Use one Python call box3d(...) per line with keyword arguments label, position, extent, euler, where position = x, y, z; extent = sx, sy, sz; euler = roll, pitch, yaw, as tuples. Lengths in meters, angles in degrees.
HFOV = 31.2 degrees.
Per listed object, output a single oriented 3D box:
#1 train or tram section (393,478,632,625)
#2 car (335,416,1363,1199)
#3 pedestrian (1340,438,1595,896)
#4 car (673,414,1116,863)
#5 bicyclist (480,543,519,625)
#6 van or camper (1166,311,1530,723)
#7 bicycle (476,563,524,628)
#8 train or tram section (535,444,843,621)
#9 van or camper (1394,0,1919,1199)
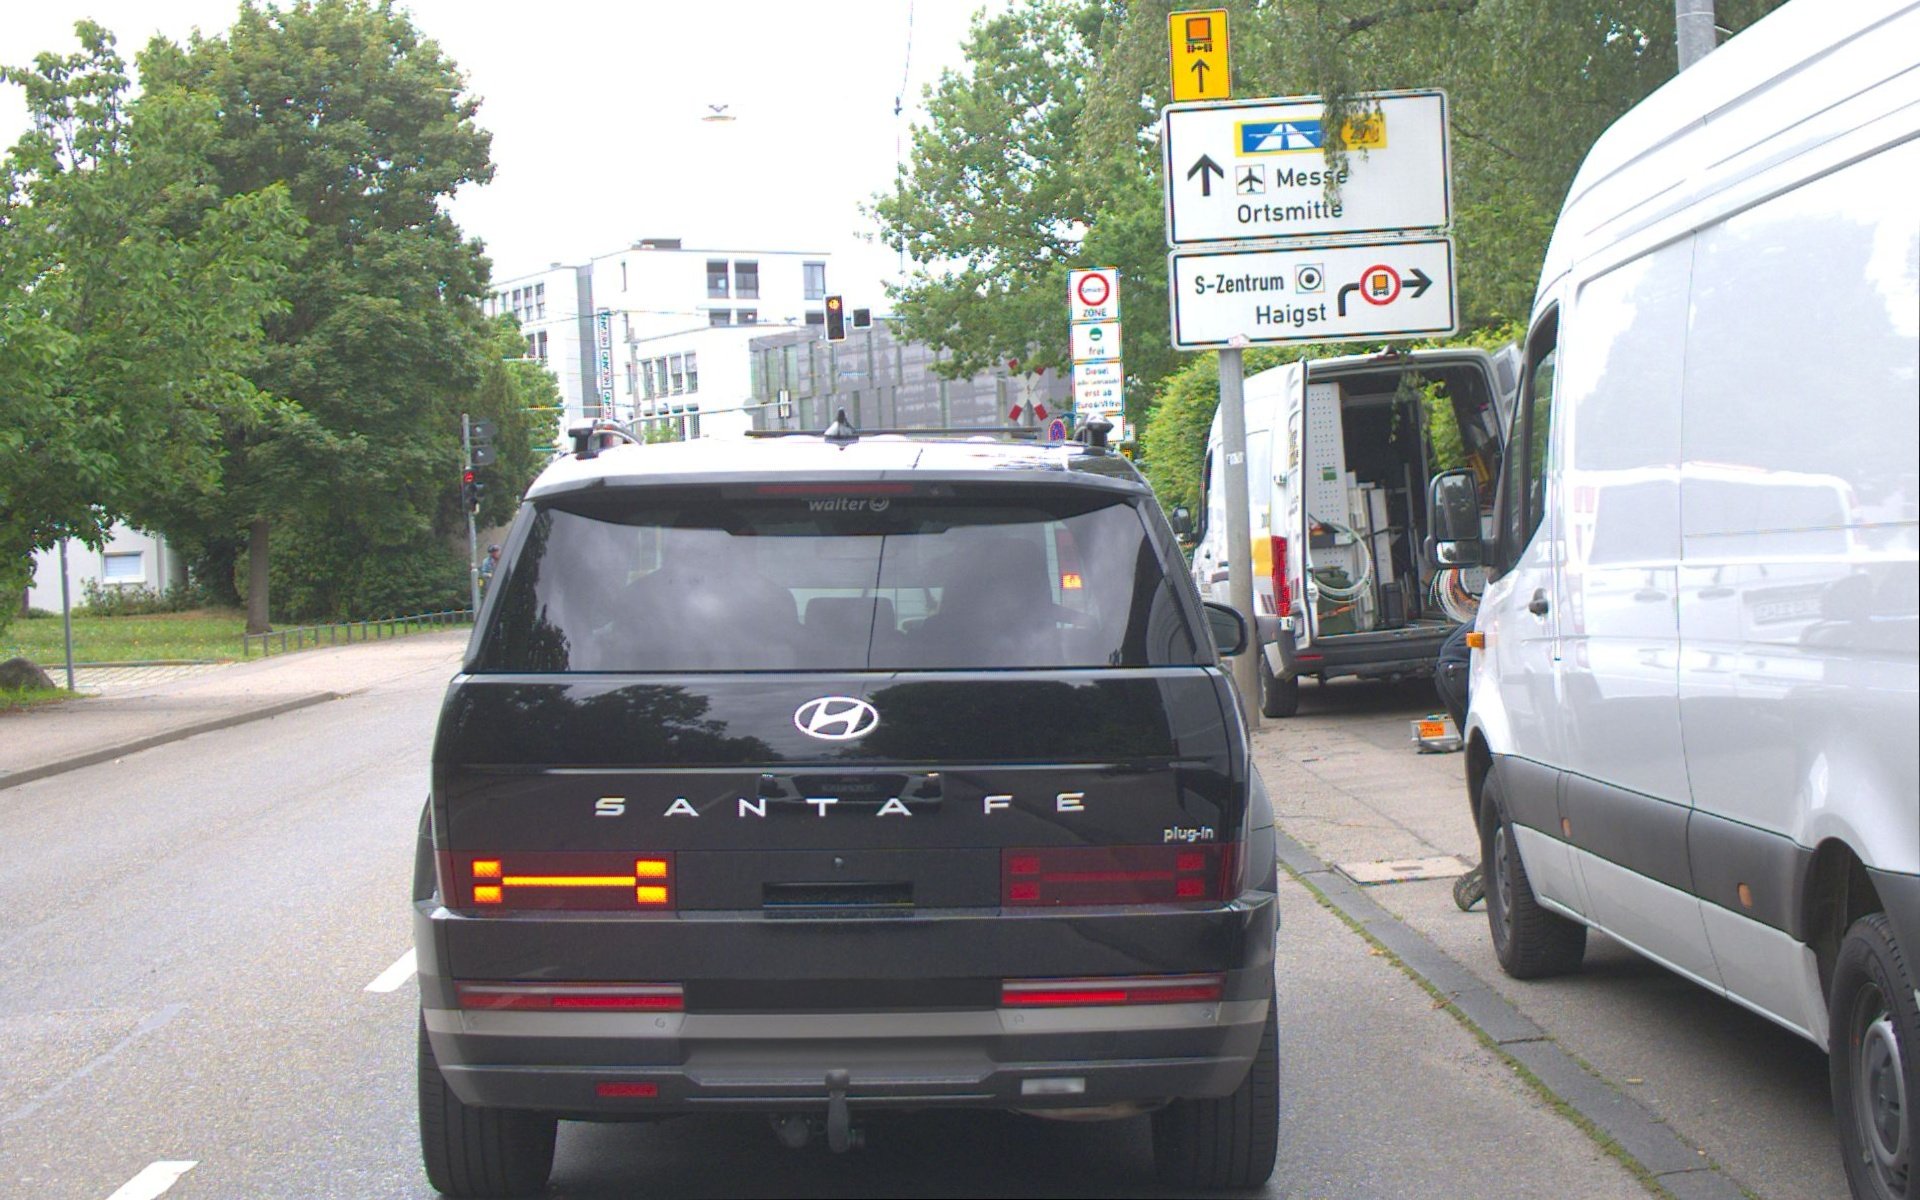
box3d(label="train or tram section", position=(-15.512, -1.472, 117.033), extent=(3.192, 4.507, 18.687), euler=(0, -1, -23))
box3d(label="car", position=(-0.258, 0.473, 8.654), extent=(1.963, 1.705, 4.000), euler=(-1, 1, -1))
box3d(label="pedestrian", position=(2.013, 0.261, 13.632), extent=(0.618, 1.737, 0.605), euler=(-6, 1, -42))
box3d(label="car", position=(-0.344, 0.136, 17.516), extent=(1.963, 1.994, 4.000), euler=(-1, 1, -1))
box3d(label="bicyclist", position=(-9.444, -0.319, 70.434), extent=(0.675, 1.653, 0.859), euler=(-1, -1, -14))
box3d(label="van or camper", position=(2.910, -0.641, 27.005), extent=(1.963, 2.787, 5.287), euler=(-4, 1, -1))
box3d(label="bicycle", position=(-9.432, -0.082, 70.405), extent=(0.675, 1.275, 2.501), euler=(-1, -1, -14))
box3d(label="train or tram section", position=(-8.227, -1.732, 99.801), extent=(3.192, 4.507, 18.687), euler=(0, -1, -23))
box3d(label="van or camper", position=(2.586, -0.095, 8.181), extent=(1.963, 2.619, 6.359), euler=(-4, 1, -1))
